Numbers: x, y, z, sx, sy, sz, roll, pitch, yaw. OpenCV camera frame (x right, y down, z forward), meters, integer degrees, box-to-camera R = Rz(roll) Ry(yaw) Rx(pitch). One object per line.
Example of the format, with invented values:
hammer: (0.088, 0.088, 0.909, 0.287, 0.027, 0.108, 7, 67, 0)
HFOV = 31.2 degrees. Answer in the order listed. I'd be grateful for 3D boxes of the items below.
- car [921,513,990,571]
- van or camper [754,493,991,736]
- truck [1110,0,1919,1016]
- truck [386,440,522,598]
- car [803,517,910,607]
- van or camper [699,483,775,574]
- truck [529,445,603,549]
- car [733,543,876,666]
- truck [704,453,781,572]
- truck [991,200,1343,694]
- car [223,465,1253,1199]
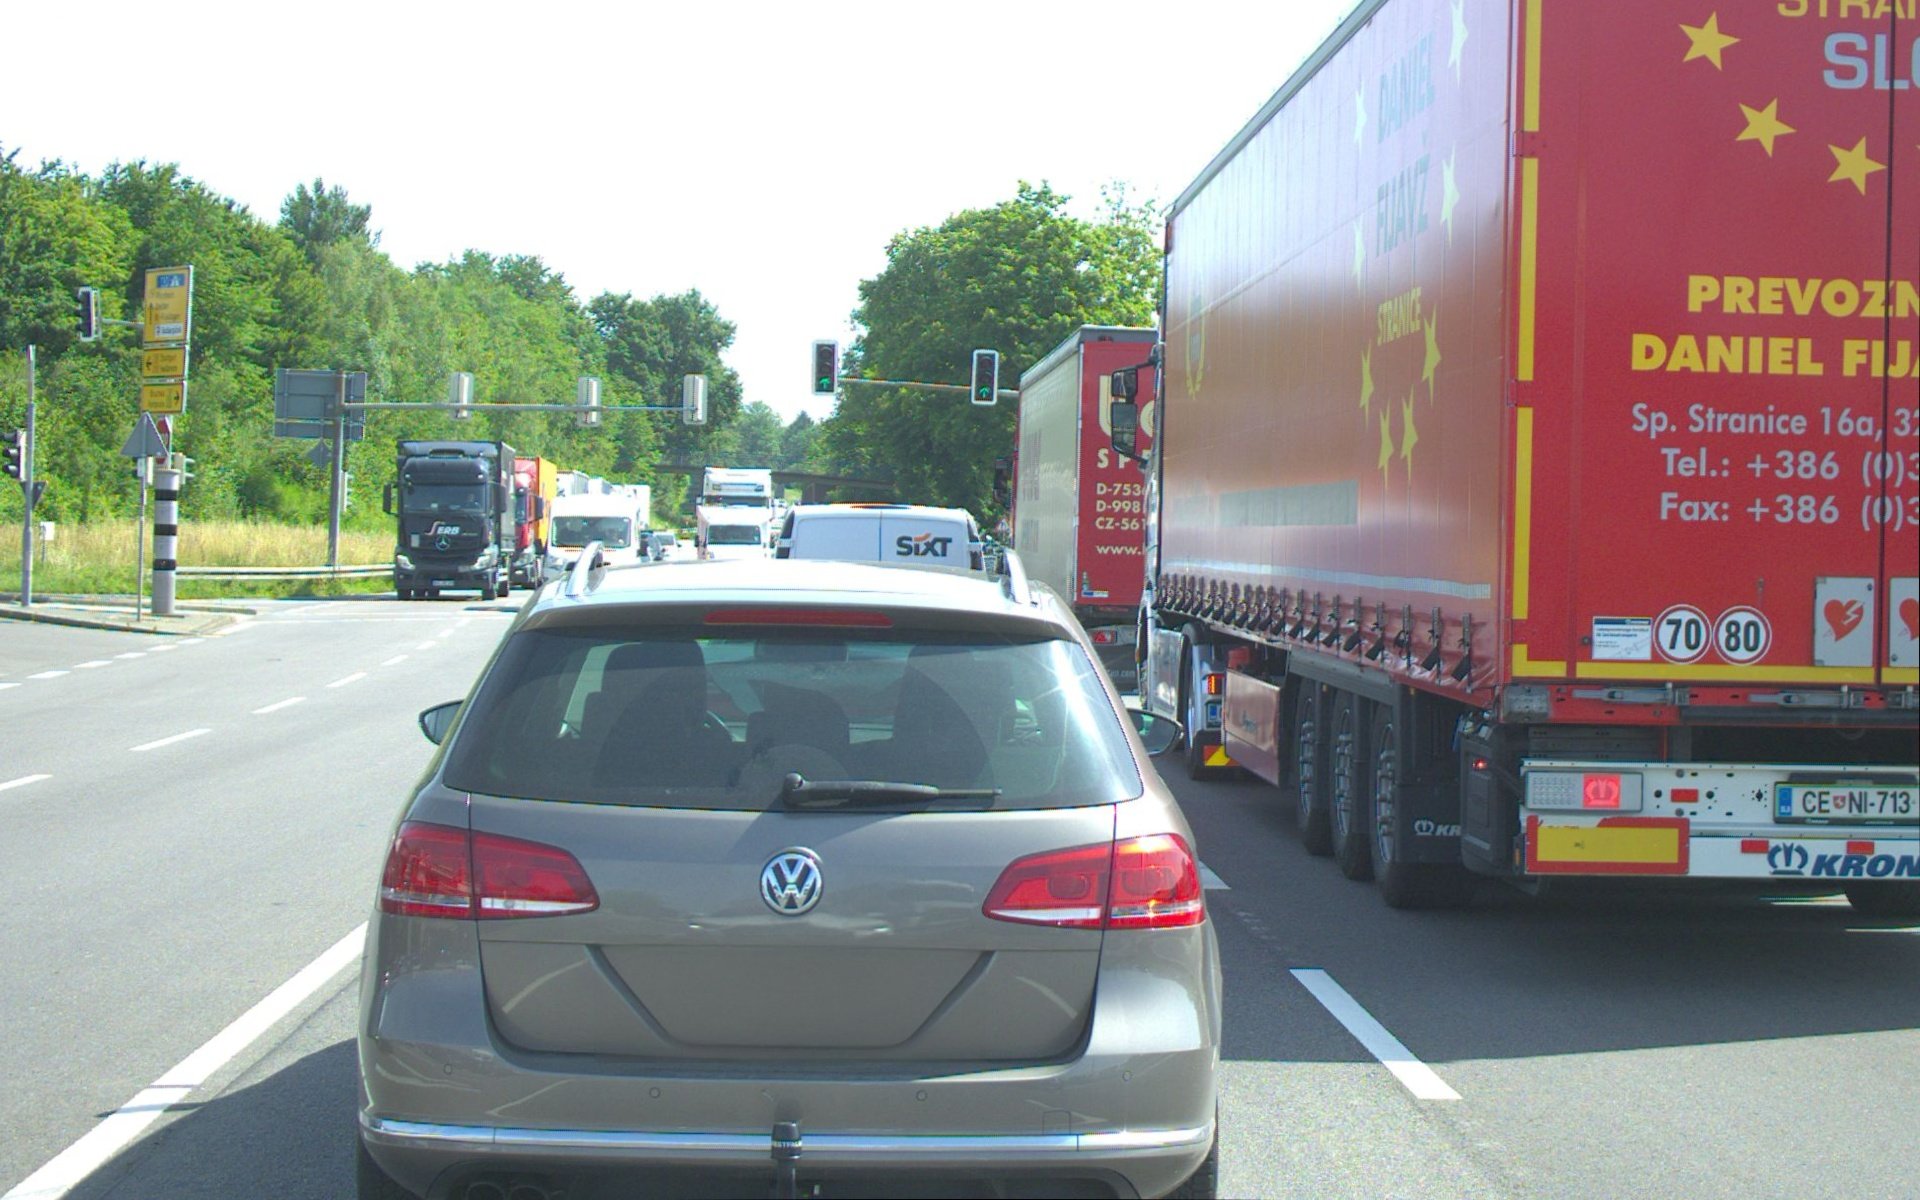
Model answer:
car: (-0.137, -1.580, 94.239, 1.727, 1.514, 3.312, 2, 0, -2)
van or camper: (-0.760, 0.080, 29.331, 1.852, 1.899, 3.785, 1, 1, -2)
truck: (2.946, -0.914, 19.611, 2.957, 4.255, 16.586, 1, 1, -1)
truck: (-12.605, -2.016, 86.129, 2.812, 3.773, 6.991, -1, 1, -4)
car: (-1.806, -0.669, 60.875, 1.727, 1.514, 3.312, 1, 0, 1)
van or camper: (-7.295, -2.316, 112.950, 2.224, 2.831, 5.711, 1, 0, -2)
truck: (-14.670, -3.809, 128.239, 2.532, 3.773, 6.991, -1, 1, -5)
car: (-2.009, 0.045, 45.184, 1.727, 1.514, 3.312, 1, 0, 0)
truck: (-8.047, -3.224, 127.652, 2.552, 4.292, 7.596, 0, 1, -1)
truck: (2.285, -1.789, 45.187, 3.062, 5.203, 17.009, 1, 1, -1)
car: (-0.335, 0.561, 7.727, 1.790, 1.633, 3.503, 0, 1, 2)
